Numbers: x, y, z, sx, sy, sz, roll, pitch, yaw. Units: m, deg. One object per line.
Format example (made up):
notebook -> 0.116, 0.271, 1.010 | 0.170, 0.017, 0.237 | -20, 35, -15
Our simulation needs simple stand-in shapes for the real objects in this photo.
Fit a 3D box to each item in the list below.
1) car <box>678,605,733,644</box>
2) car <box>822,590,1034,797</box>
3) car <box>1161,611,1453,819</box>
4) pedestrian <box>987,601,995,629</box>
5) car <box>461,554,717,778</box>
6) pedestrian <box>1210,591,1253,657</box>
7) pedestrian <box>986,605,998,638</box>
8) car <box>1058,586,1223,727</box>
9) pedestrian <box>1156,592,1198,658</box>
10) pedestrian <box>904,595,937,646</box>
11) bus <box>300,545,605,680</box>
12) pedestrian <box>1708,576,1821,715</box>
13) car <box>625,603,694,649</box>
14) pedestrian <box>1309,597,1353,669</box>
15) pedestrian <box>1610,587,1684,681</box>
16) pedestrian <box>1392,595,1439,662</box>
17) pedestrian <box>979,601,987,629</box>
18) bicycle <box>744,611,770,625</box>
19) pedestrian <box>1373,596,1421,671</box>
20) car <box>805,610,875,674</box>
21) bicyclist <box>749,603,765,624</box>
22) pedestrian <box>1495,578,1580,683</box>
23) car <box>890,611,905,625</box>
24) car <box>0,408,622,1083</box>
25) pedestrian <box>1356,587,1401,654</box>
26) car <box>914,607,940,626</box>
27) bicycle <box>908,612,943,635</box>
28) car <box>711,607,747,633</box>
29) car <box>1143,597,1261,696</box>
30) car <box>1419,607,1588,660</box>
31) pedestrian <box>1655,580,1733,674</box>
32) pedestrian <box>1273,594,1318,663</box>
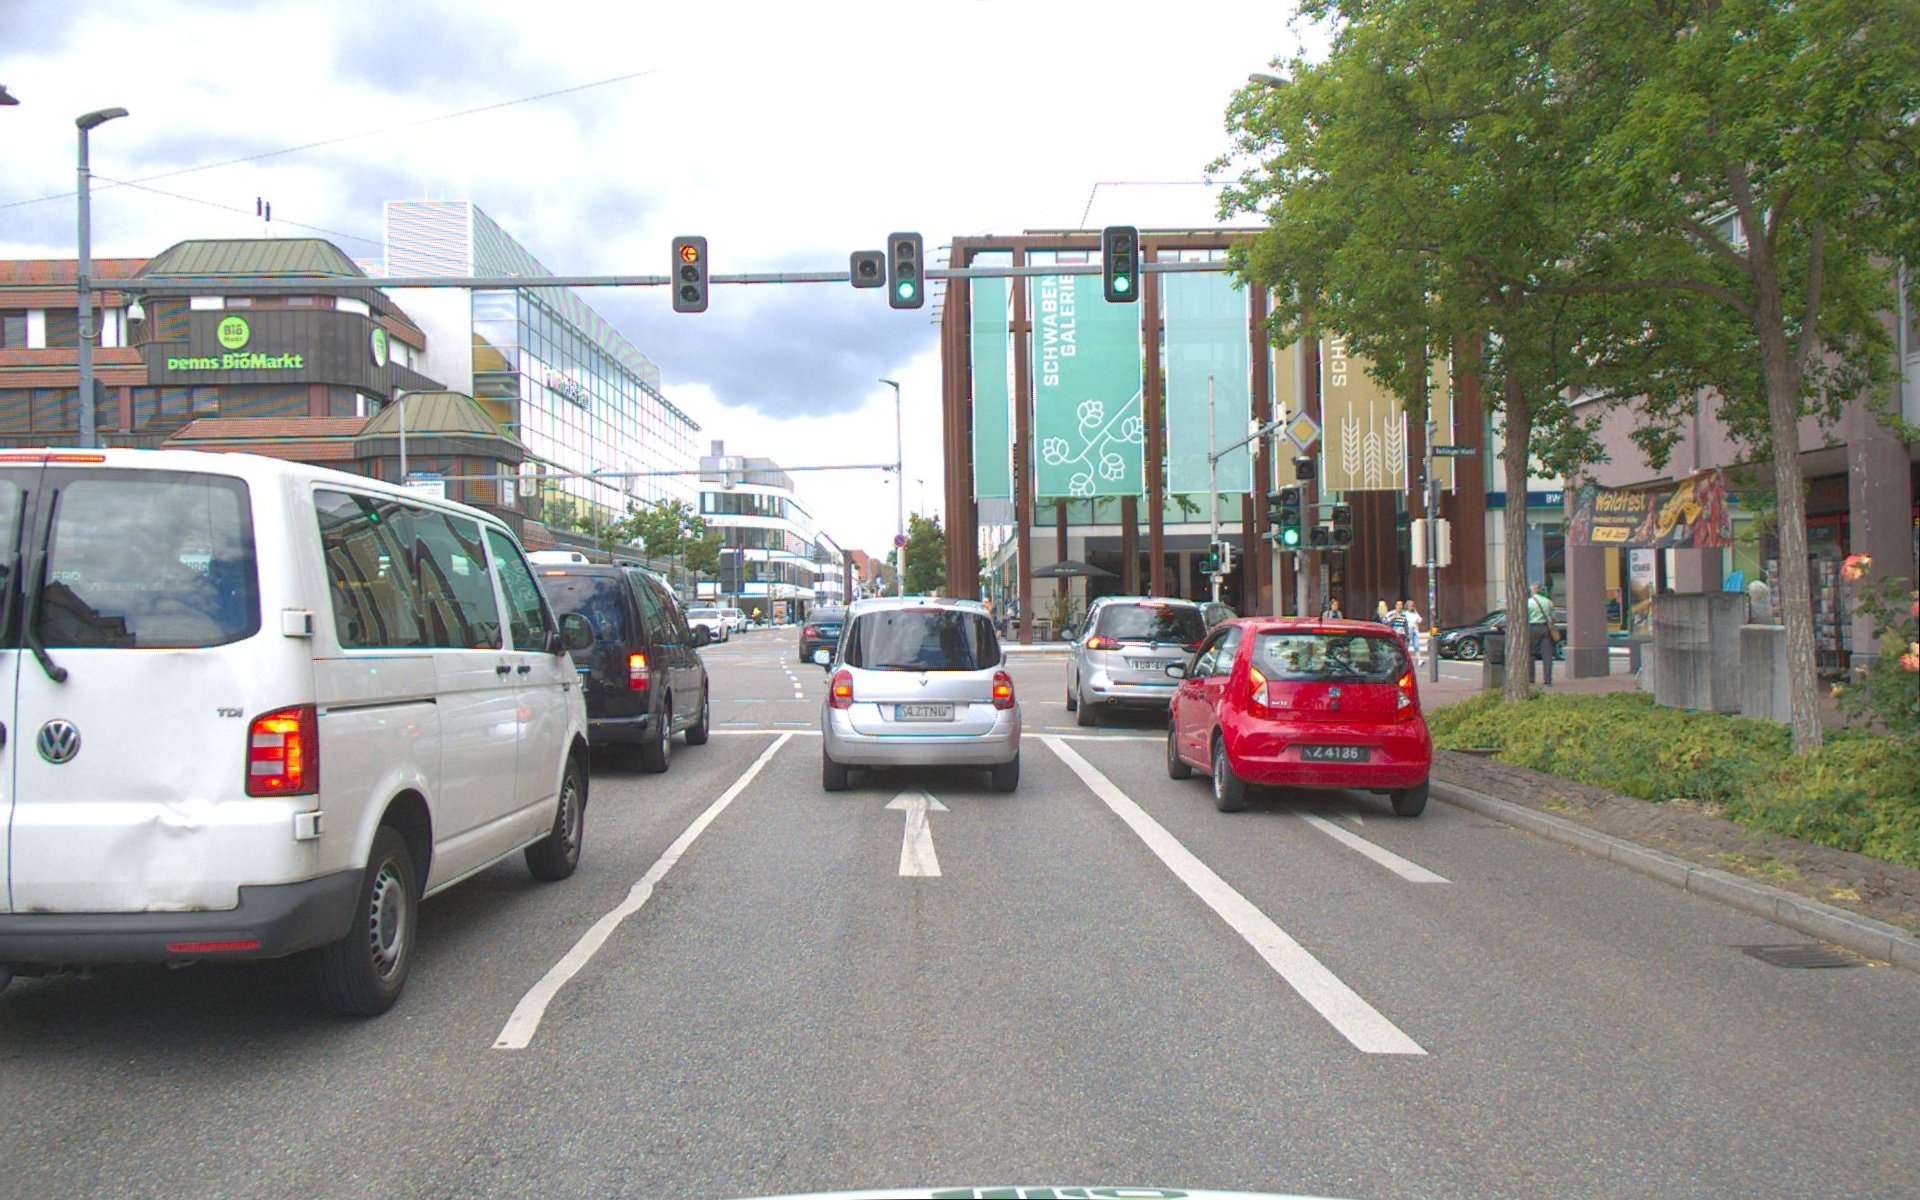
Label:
car -> -10.615, 1.005, 69.110 | 1.709, 1.484, 4.234 | -2, 0, -2
car -> -0.291, 0.738, 14.753 | 1.636, 1.581, 3.641 | 1, 0, -1
car -> 2.753, 0.850, 13.870 | 1.593, 1.474, 3.641 | 1, 0, -1
pedestrian -> 1.752, 0.860, 92.877 | 0.418, 1.576, 0.481 | -1, 0, -3
car -> -3.453, 0.563, 16.195 | 1.674, 1.852, 4.568 | 1, 0, -3
pedestrian -> 7.215, 0.626, 43.945 | 0.861, 1.711, 1.119 | -1, 0, -4
pedestrian -> 1.207, 0.811, 62.983 | 0.438, 1.241, 0.606 | -1, 0, 1
car -> 2.386, 0.713, 22.864 | 1.704, 1.731, 4.379 | 1, 0, -1
pedestrian -> 5.742, 0.659, 43.806 | 0.861, 1.711, 1.119 | -1, 0, -4
pedestrian -> -1.297, 0.690, 54.925 | 0.854, 1.675, 0.678 | -1, 0, 33
bus -> -14.644, 0.249, 49.443 | 2.924, 3.385, 12.317 | -3, 0, 12
pedestrian -> 9.920, 0.543, 20.431 | 0.792, 1.655, 1.092 | -1, 0, -4
car -> -10.296, 0.865, 56.858 | 1.709, 1.484, 3.816 | -2, 0, -1
pedestrian -> 8.721, 0.757, 38.929 | 0.727, 1.655, 0.952 | -1, 0, -5
pedestrian -> 11.943, 0.582, 28.779 | 0.814, 1.586, 0.968 | 0, 0, -5
pedestrian -> 11.320, 0.702, 41.150 | 0.805, 1.623, 1.038 | 0, 0, -4
pedestrian -> 1.280, 0.850, 92.947 | 0.418, 1.576, 0.481 | -1, 0, -3
bicycle -> -16.605, 1.458, 134.922 | 0.995, 1.036, 3.099 | 2, -1, -29
pedestrian -> 9.853, 0.752, 37.325 | 0.727, 1.655, 0.952 | -1, 0, -5
car -> -3.119, 1.065, 43.519 | 1.636, 1.581, 3.641 | 1, 0, -1
bicyclist -> -16.515, 1.076, 134.782 | 0.995, 1.689, 0.924 | 2, -1, -30
pedestrian -> 9.920, 0.517, 28.439 | 1.034, 1.745, 1.109 | 0, 0, -3
car -> -6.960, 2.008, 184.153 | 1.626, 1.491, 3.999 | -2, 0, -1
car -> -2.958, 0.448, 7.452 | 1.953, 2.049, 4.838 | 1, 0, -1
pedestrian -> 11.473, 0.562, 45.371 | 0.861, 1.798, 1.119 | -1, 0, -4
car -> -2.370, 1.178, 120.638 | 1.839, 1.358, 3.999 | 1, 0, -1
bicycle -> -1.594, 1.083, 76.370 | 1.528, 1.010, 0.752 | -1, 0, 2
car -> -13.976, 1.175, 100.114 | 1.626, 1.491, 3.999 | -2, 0, -1
car -> 4.554, 0.794, 30.547 | 1.811, 1.637, 4.865 | 1, 0, 12
car -> 15.006, 0.909, 45.809 | 4.090, 1.429, 1.799 | 0, 0, -4
pedestrian -> 12.805, 0.465, 28.864 | 0.814, 1.612, 1.057 | 0, 0, -6
pedestrian -> 8.899, 0.751, 43.919 | 0.861, 1.798, 1.119 | -1, 0, -4
